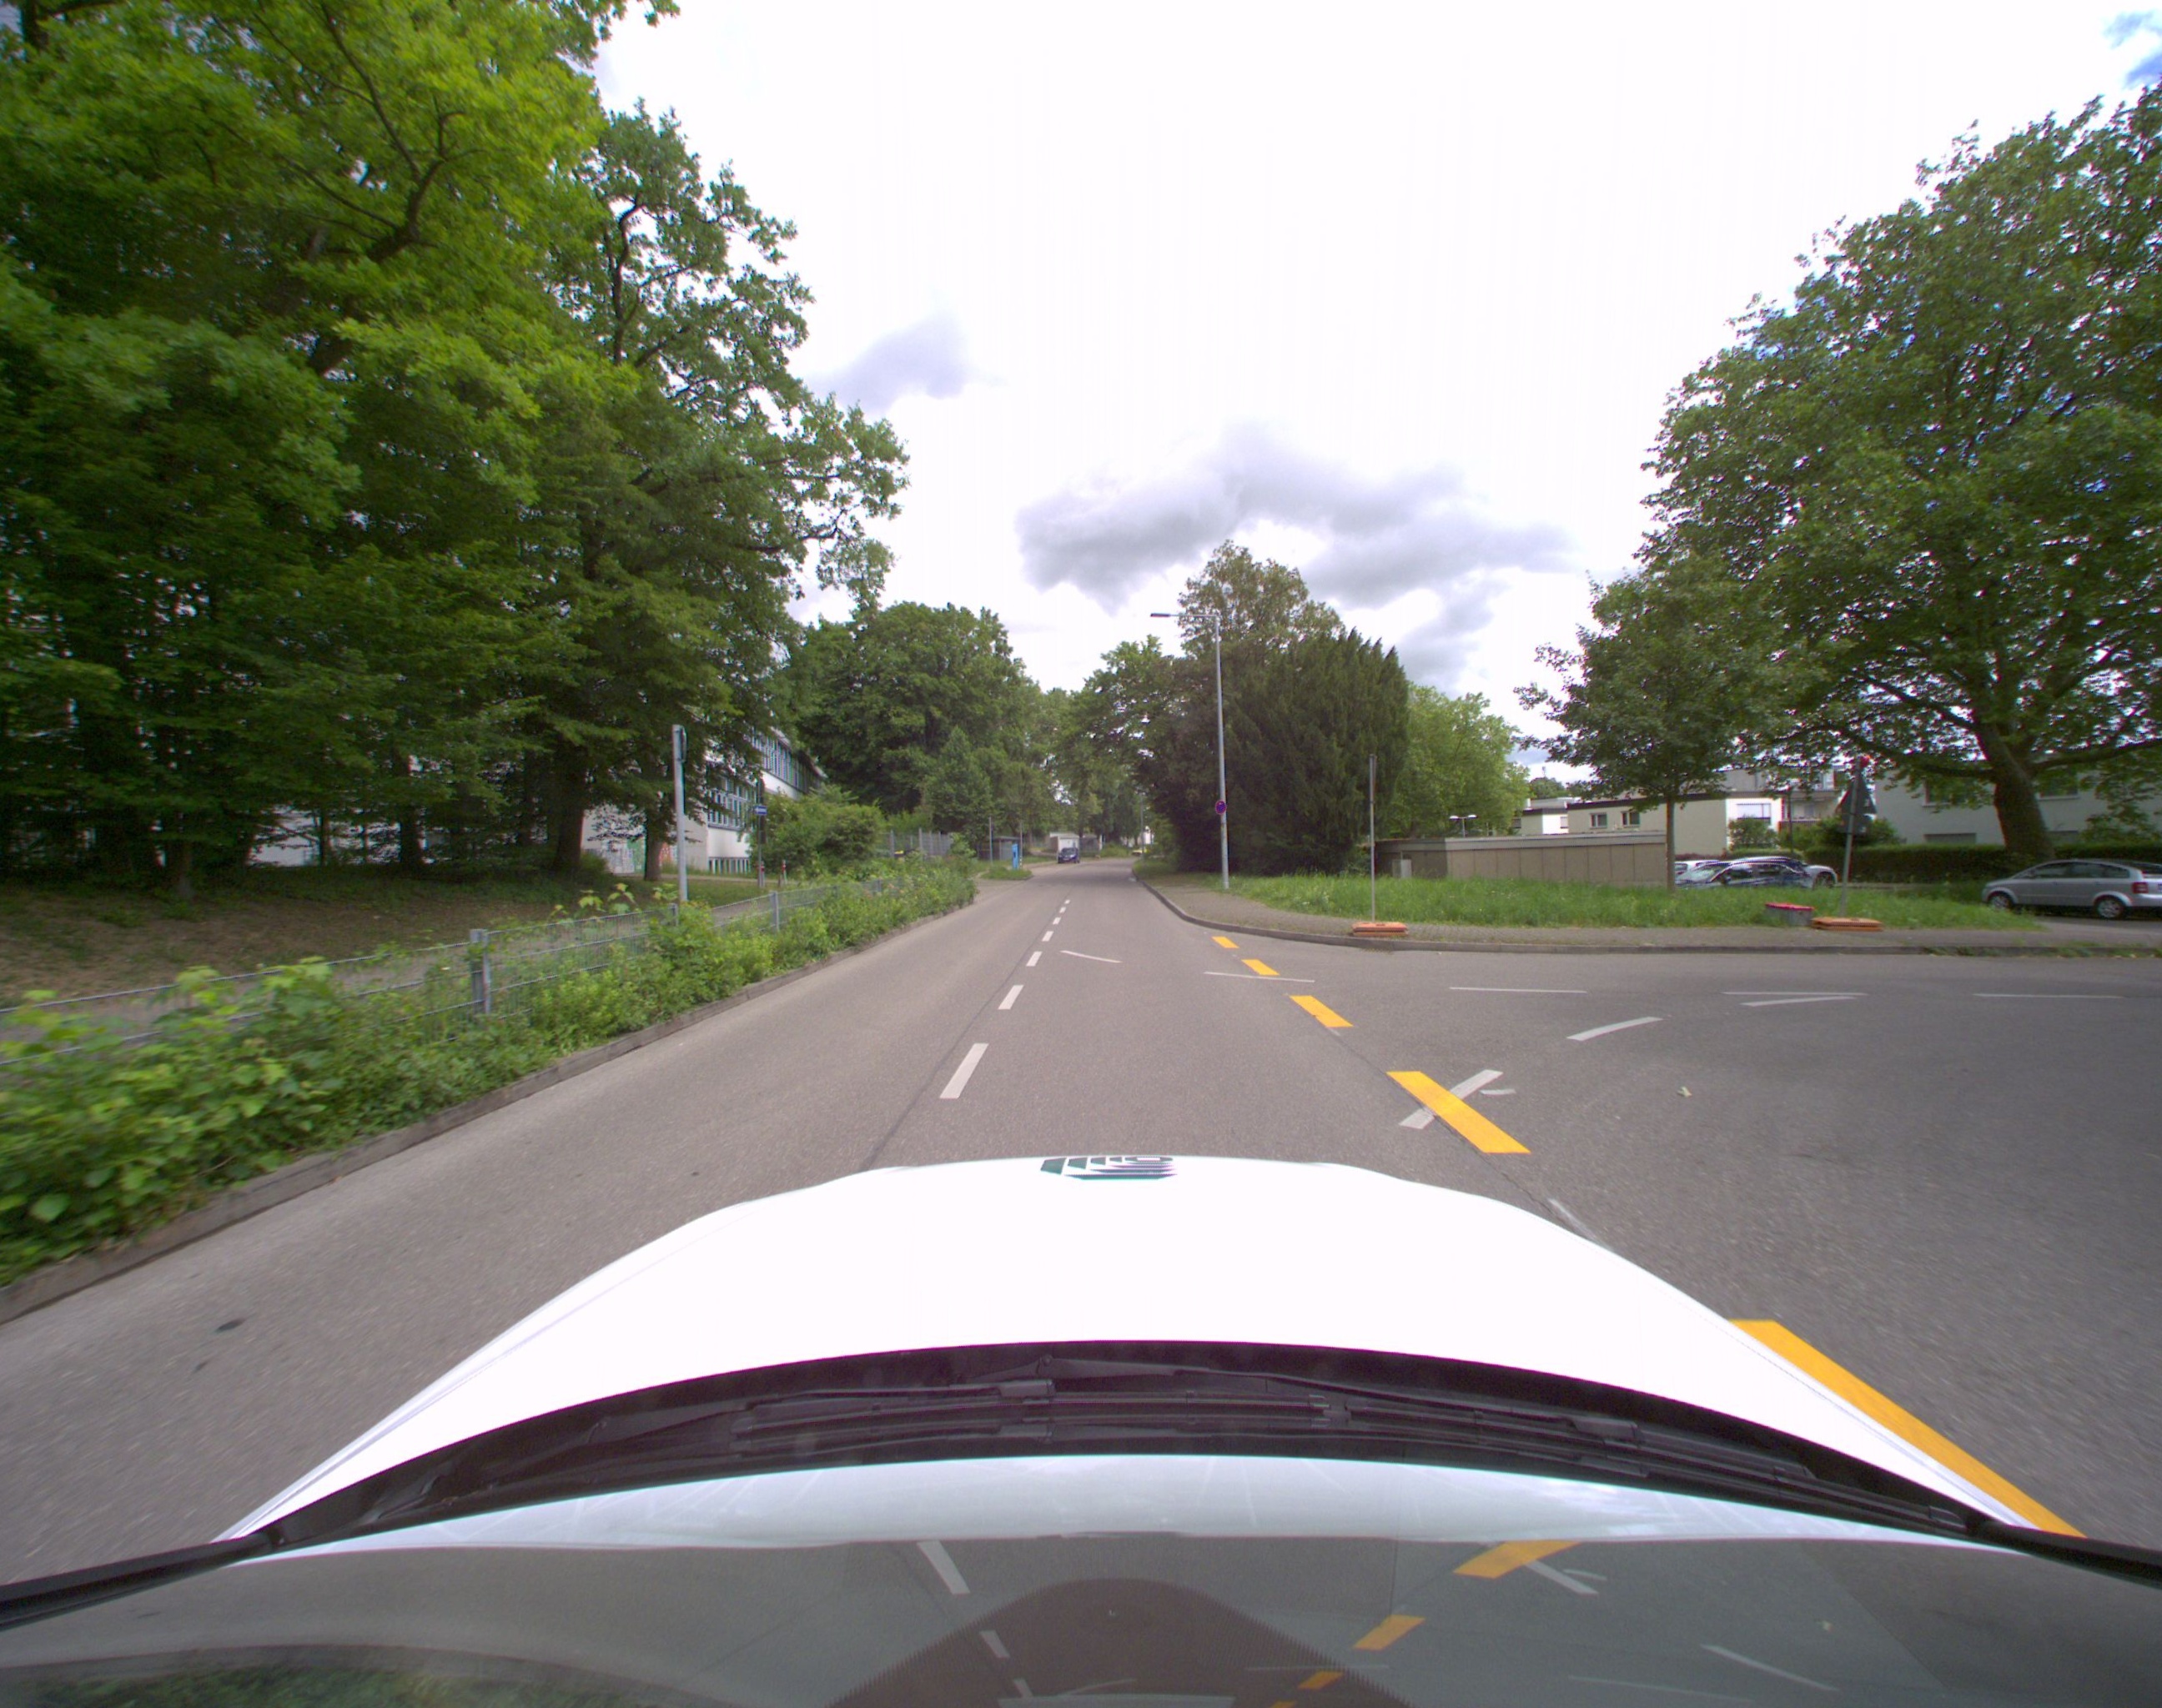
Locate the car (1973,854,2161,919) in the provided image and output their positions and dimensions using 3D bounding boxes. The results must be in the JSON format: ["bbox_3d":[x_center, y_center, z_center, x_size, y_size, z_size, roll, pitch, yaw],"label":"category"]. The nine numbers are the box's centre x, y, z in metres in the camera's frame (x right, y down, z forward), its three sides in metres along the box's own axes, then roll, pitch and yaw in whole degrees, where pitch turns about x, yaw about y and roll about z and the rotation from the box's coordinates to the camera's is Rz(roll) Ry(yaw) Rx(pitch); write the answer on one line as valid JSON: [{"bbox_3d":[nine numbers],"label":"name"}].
[{"bbox_3d":[26.520,0.790,21.515,1.839,1.469,3.750,-2,1,2],"label":"car"}]

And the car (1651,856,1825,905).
[{"bbox_3d":[18.638,0.719,23.220,3.548,1.315,1.811,0,1,0],"label":"car"}]

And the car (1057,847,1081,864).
[{"bbox_3d":[-1.158,0.095,77.626,1.671,1.511,4.440,-1,0,7],"label":"car"}]

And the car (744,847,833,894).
[{"bbox_3d":[-13.647,0.726,38.208,1.980,2.013,4.015,-2,1,13],"label":"car"}]

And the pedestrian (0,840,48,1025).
[{"bbox_3d":[-10.127,0.720,7.246,0.757,1.662,0.809,-2,0,-1],"label":"pedestrian"}]

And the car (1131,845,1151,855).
[{"bbox_3d":[8.532,-0.561,114.907,1.686,1.403,4.294,0,0,19],"label":"car"}]
